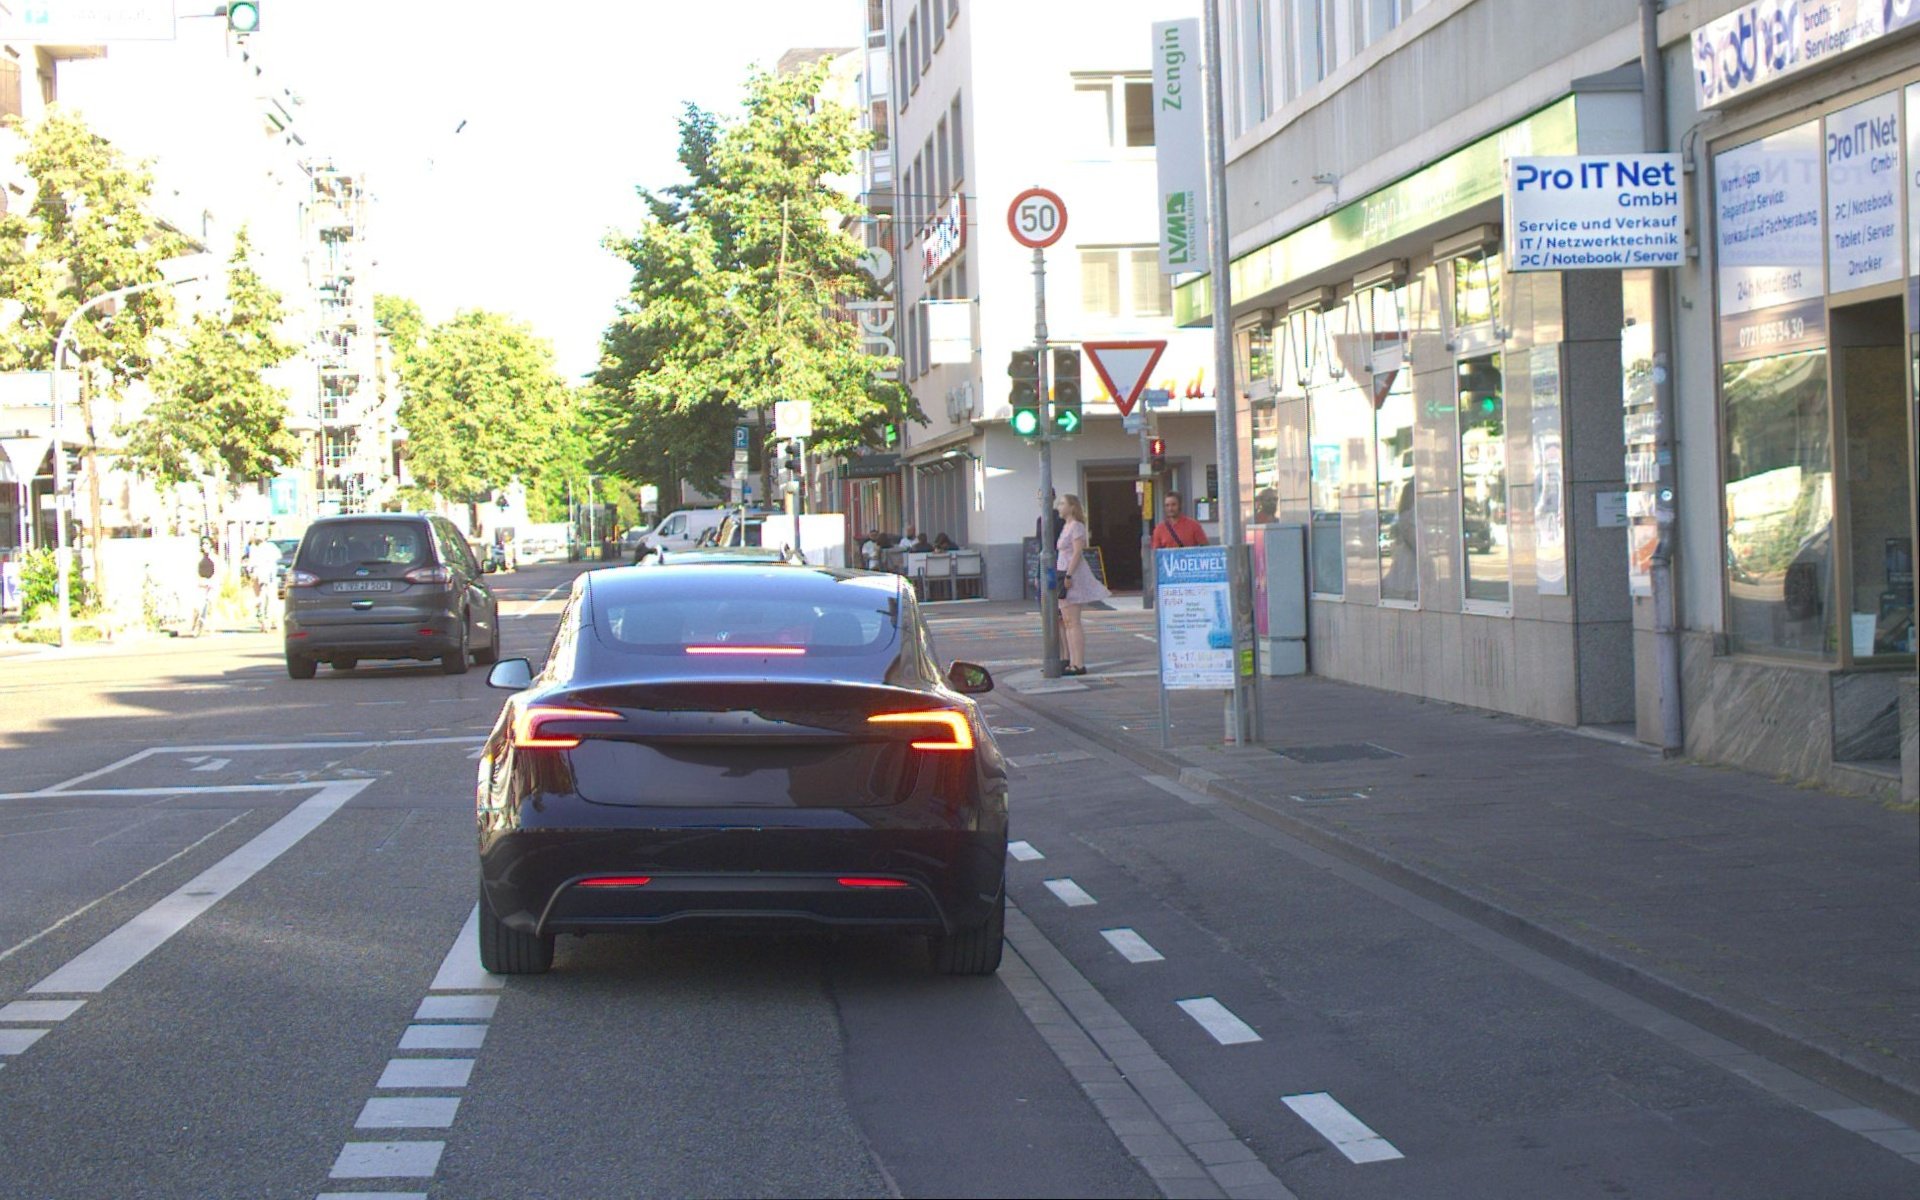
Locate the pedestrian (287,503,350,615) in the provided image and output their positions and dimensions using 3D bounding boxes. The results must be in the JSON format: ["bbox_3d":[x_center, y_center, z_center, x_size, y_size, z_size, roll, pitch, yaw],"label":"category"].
[{"bbox_3d":[-11.032,-0.713,59.122,0.778,1.860,1.002,-5,2,-19],"label":"pedestrian"}]

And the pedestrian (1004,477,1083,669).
[{"bbox_3d":[0.813,-0.270,33.501,0.639,1.835,0.682,-2,1,-5],"label":"pedestrian"}]

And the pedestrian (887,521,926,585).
[{"bbox_3d":[-1.167,-1.030,74.983,0.730,1.355,0.959,-2,1,-5],"label":"pedestrian"}]

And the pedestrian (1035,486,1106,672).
[{"bbox_3d":[1.057,-0.207,33.017,0.572,1.753,0.649,-1,1,-5],"label":"pedestrian"}]

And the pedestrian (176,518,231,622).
[{"bbox_3d":[-12.712,-0.510,57.772,0.790,1.706,0.654,-2,1,-20],"label":"pedestrian"}]

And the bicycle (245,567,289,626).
[{"bbox_3d":[-11.875,-0.065,58.873,0.552,0.965,1.795,-3,1,-16],"label":"bicycle"}]

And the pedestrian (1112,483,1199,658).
[{"bbox_3d":[1.954,-0.304,34.413,0.690,1.697,0.912,-3,1,-3],"label":"pedestrian"}]

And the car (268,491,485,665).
[{"bbox_3d":[-6.235,-0.274,37.130,1.904,1.727,4.289,-2,1,-5],"label":"car"}]

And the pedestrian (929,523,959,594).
[{"bbox_3d":[-0.301,-0.793,65.035,0.488,1.317,0.653,-2,1,3],"label":"pedestrian"}]

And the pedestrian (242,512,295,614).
[{"bbox_3d":[-11.858,-0.635,58.960,0.778,1.722,0.559,-2,1,-19],"label":"pedestrian"}]

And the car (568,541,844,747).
[{"bbox_3d":[-1.867,0.274,26.450,1.762,1.414,4.355,-1,1,0],"label":"car"}]

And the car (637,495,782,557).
[{"bbox_3d":[-9.569,-2.810,131.132,5.390,2.138,2.000,-2,1,-6],"label":"car"}]

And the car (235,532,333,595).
[{"bbox_3d":[-18.030,-0.993,91.826,1.993,1.592,4.001,-1,1,-3],"label":"car"}]

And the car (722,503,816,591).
[{"bbox_3d":[-4.251,-1.199,76.085,1.904,1.845,4.289,-2,1,-5],"label":"car"}]

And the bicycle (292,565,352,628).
[{"bbox_3d":[-10.978,-0.074,59.105,0.758,1.004,1.726,-5,2,-16],"label":"bicycle"}]

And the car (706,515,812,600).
[{"bbox_3d":[-4.105,-0.883,69.652,2.000,1.630,4.289,-2,1,-5],"label":"car"}]

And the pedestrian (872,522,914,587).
[{"bbox_3d":[-1.438,-0.982,73.690,0.730,1.342,1.060,-2,1,-7],"label":"pedestrian"}]

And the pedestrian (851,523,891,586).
[{"bbox_3d":[-1.933,-0.995,74.764,0.709,1.342,1.060,-2,1,-8],"label":"pedestrian"}]

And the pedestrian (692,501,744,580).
[{"bbox_3d":[-6.057,-1.490,86.012,0.958,1.909,1.105,-2,1,11],"label":"pedestrian"}]

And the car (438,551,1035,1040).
[{"bbox_3d":[-0.864,0.595,13.231,1.869,1.422,4.365,-2,2,-4],"label":"car"}]

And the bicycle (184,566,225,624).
[{"bbox_3d":[-12.764,-0.096,58.100,0.480,0.952,1.456,-3,1,-19],"label":"bicycle"}]

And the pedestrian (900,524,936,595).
[{"bbox_3d":[-0.786,-0.757,64.216,0.586,1.308,0.560,-2,1,-5],"label":"pedestrian"}]
